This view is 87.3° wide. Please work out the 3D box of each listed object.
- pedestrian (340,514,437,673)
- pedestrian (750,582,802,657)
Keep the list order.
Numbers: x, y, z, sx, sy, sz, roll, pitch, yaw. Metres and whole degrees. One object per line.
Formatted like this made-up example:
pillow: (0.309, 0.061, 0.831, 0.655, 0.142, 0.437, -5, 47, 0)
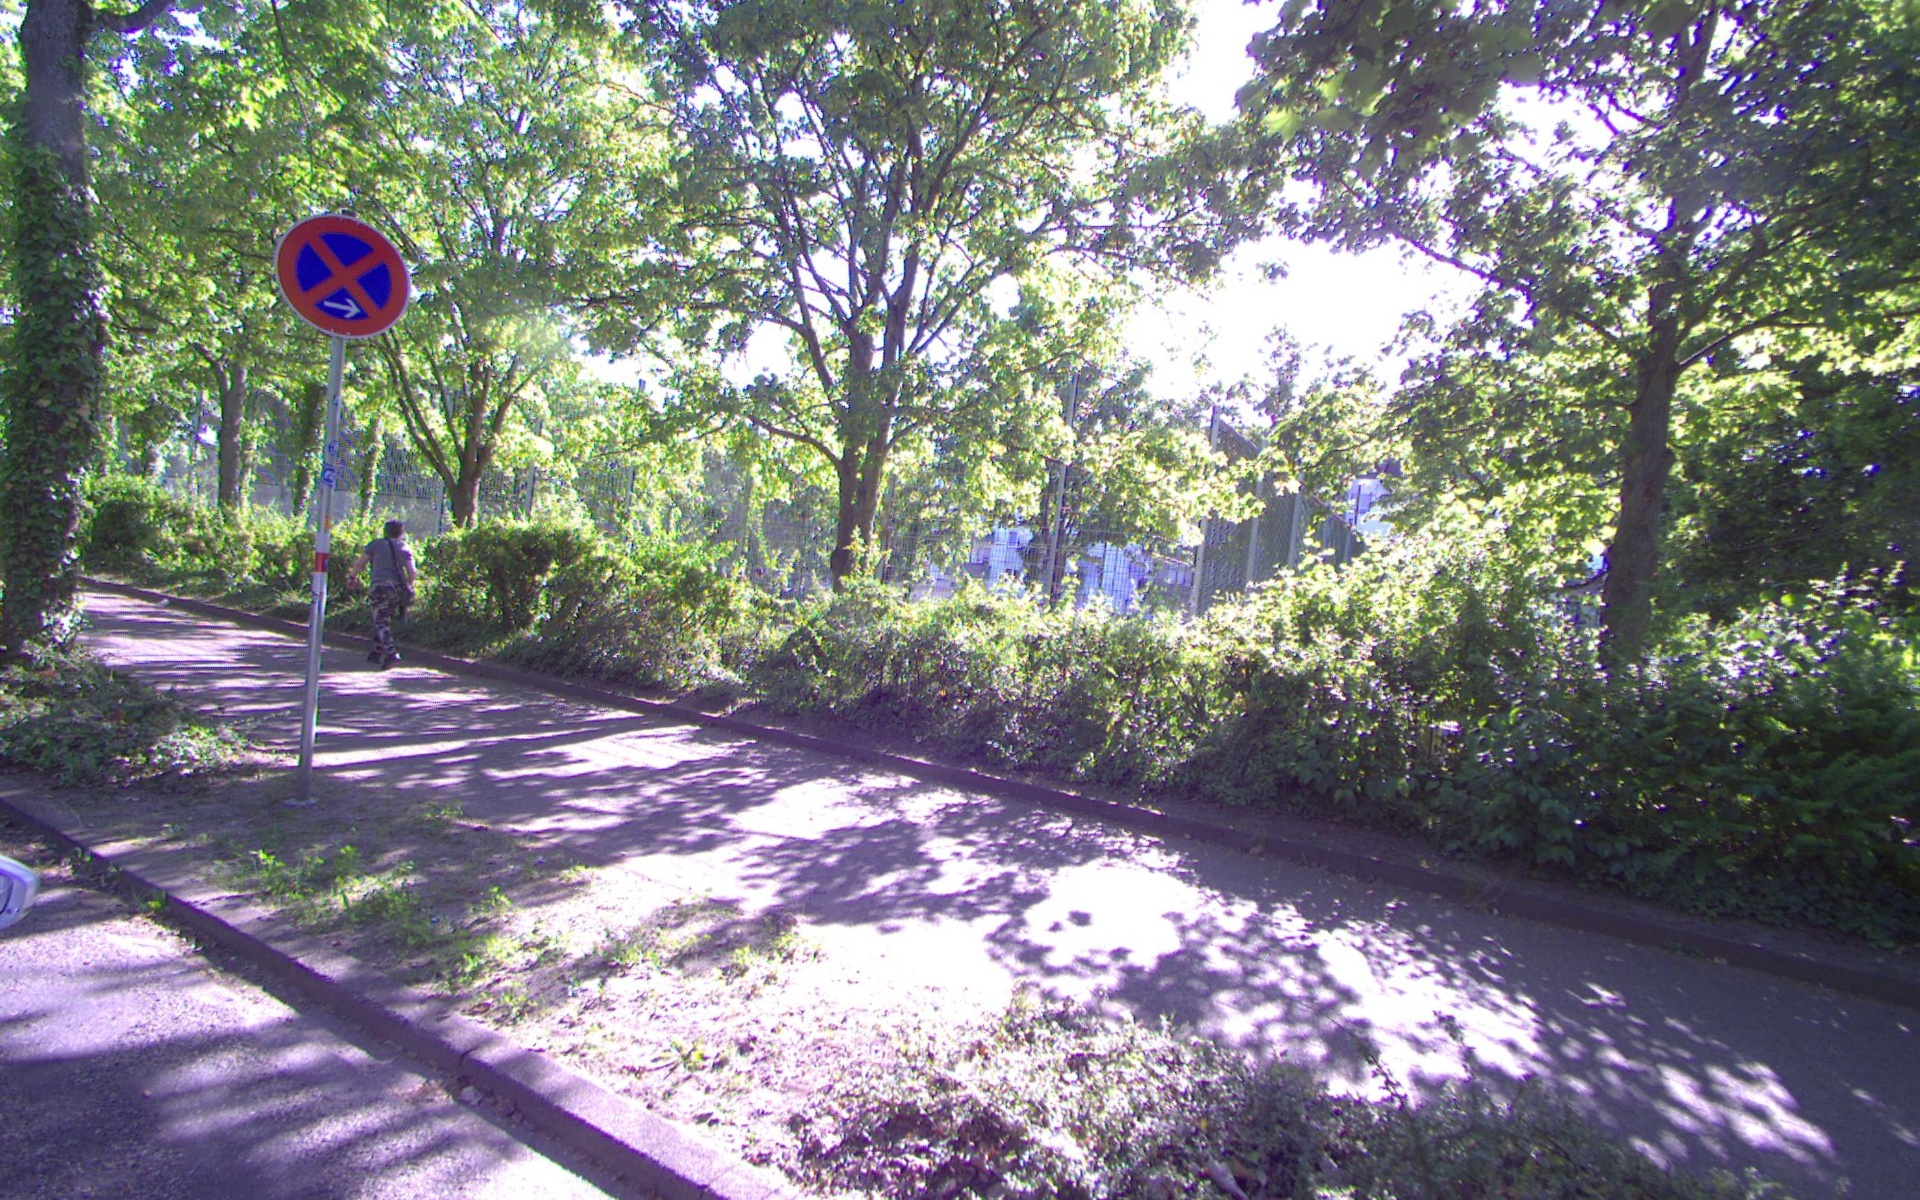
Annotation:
pedestrian: (-6.192, -0.068, 10.901, 0.661, 1.628, 0.571, 7, 0, 40)
pedestrian: (-3.291, 0.347, 17.987, 0.558, 1.254, 0.539, 9, -2, -39)
